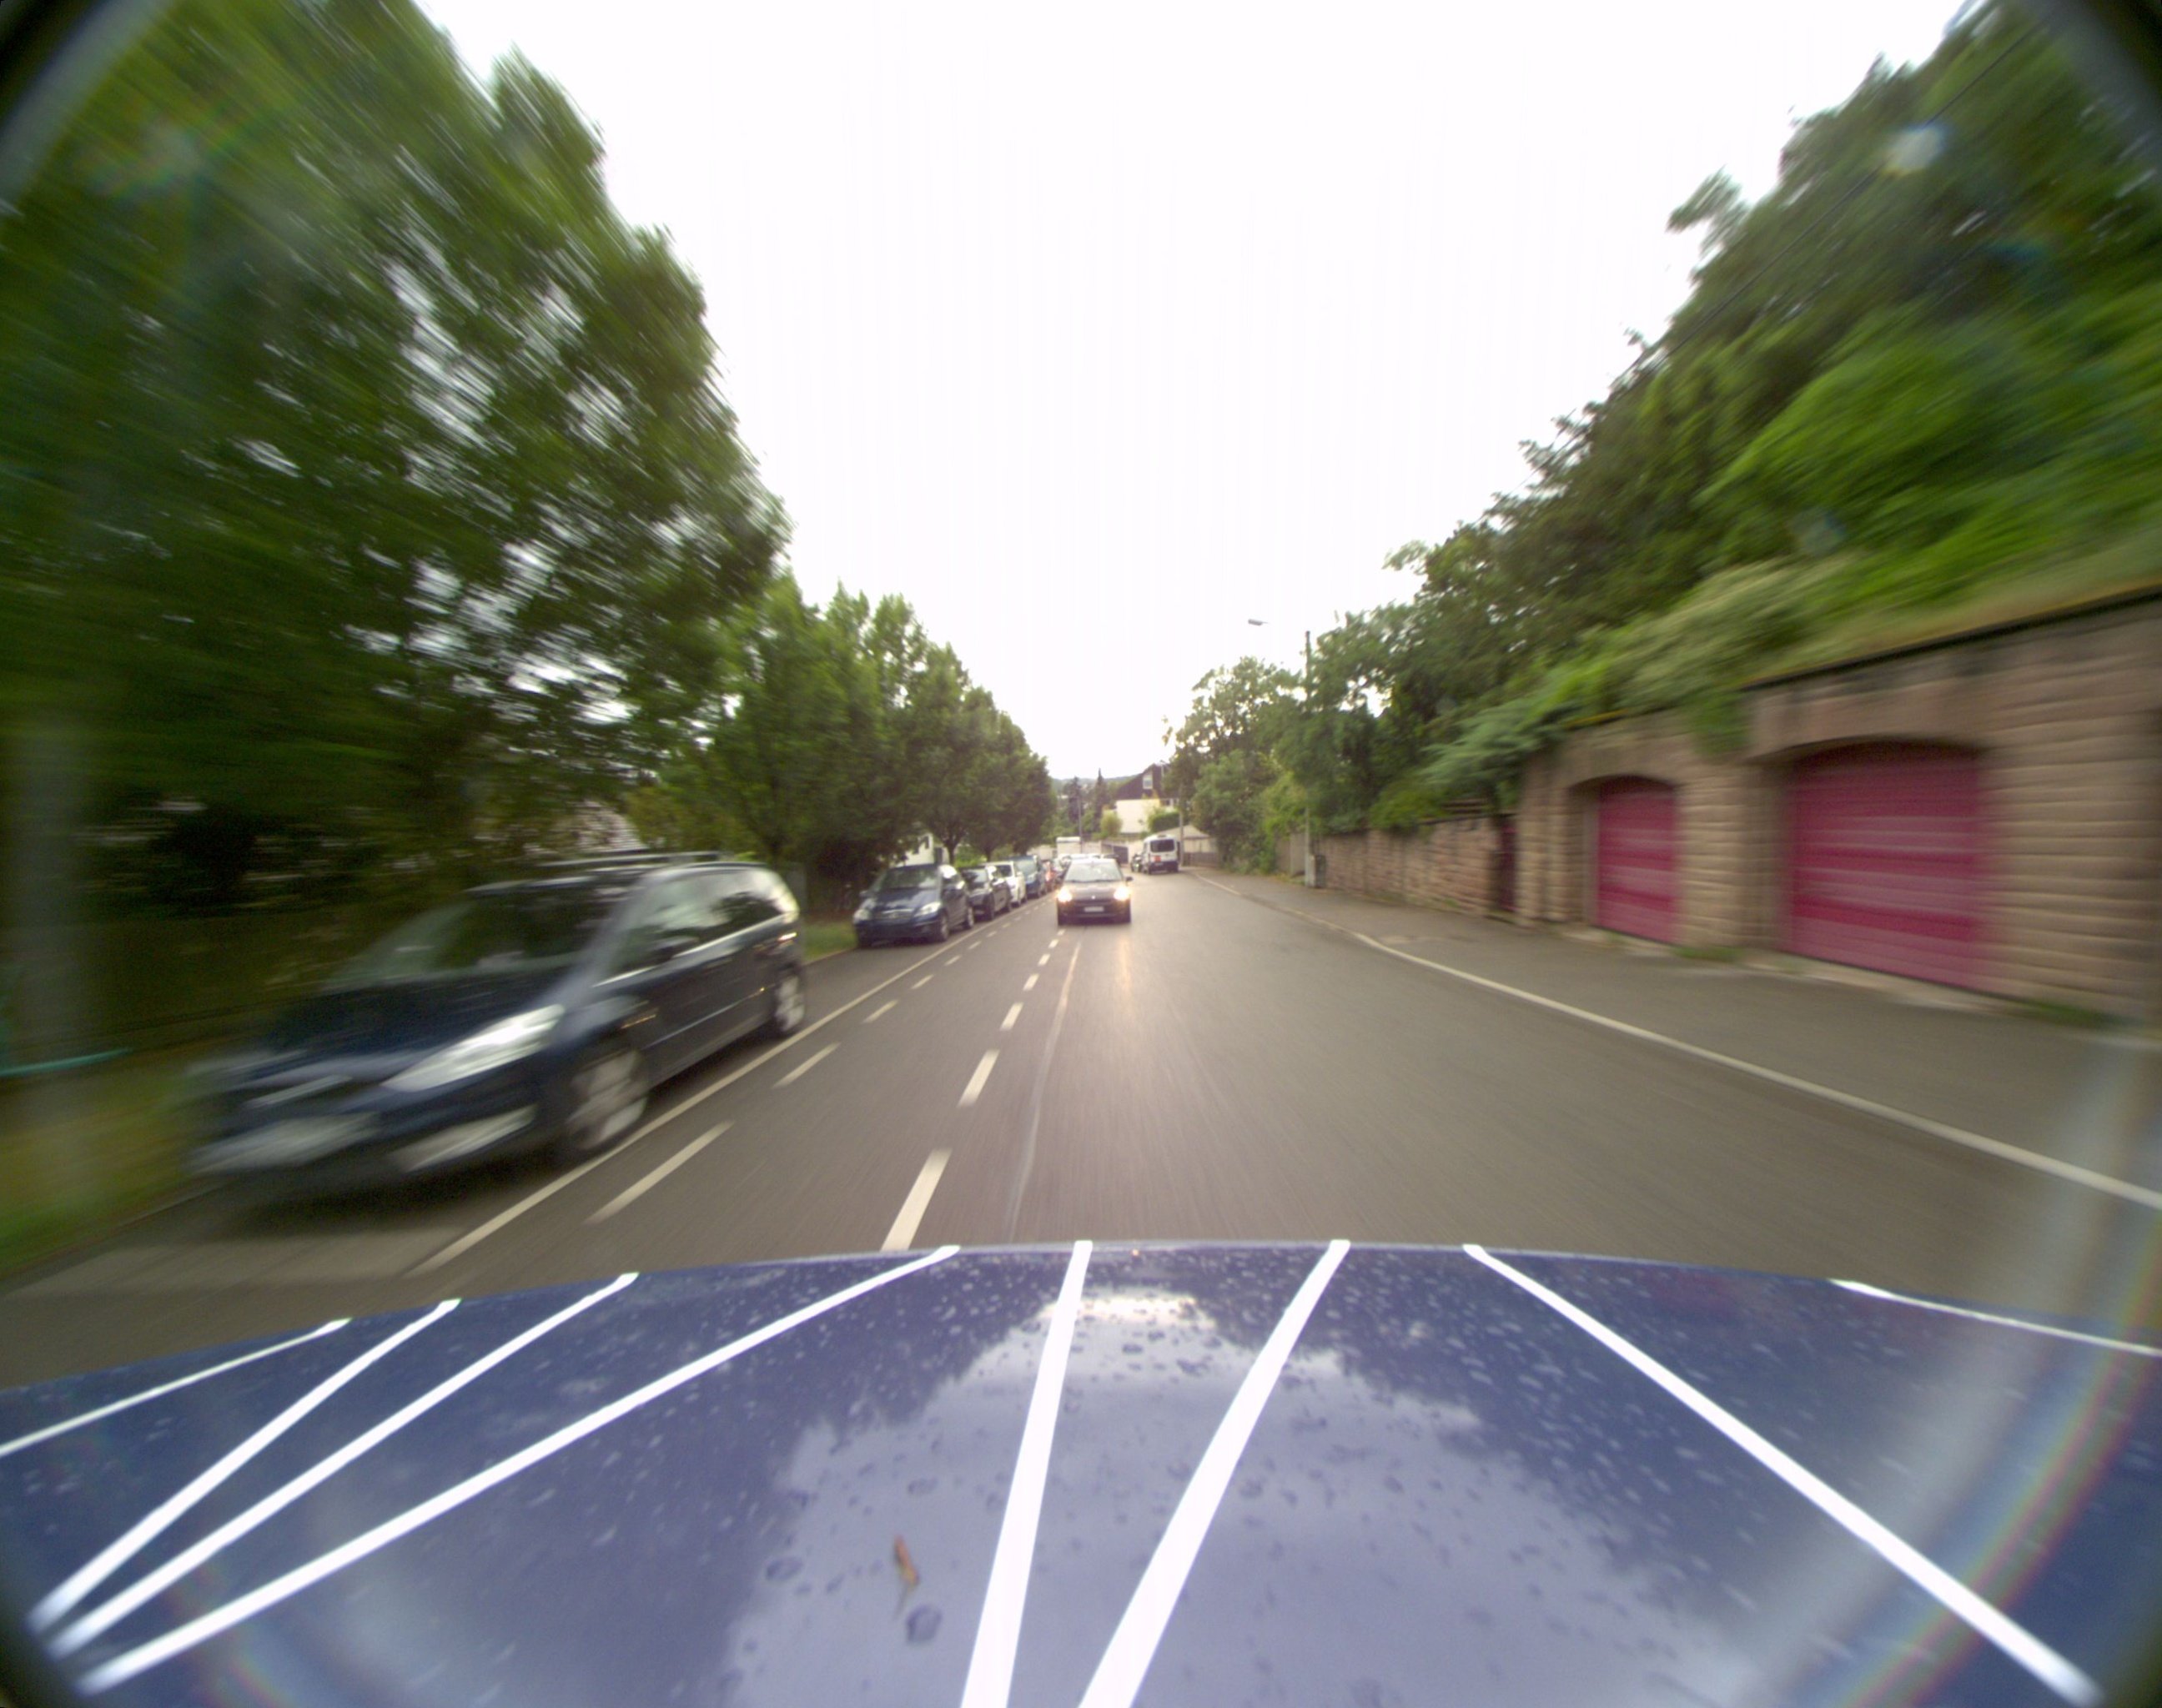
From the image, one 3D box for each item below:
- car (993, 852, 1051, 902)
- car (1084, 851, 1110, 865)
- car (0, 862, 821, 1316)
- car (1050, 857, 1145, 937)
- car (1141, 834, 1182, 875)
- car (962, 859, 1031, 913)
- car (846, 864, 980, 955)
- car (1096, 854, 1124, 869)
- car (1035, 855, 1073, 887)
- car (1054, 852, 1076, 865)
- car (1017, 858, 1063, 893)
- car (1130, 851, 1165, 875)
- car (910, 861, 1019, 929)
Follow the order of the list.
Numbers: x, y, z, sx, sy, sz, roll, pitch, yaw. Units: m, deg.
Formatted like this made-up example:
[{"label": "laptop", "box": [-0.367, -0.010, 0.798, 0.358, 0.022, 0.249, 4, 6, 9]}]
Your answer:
[{"label": "car", "box": [-2.398, 0.901, 32.179, 1.782, 1.841, 4.425, -4, 0, 3]}, {"label": "car", "box": [1.735, 0.452, 84.405, 1.839, 1.431, 4.035, -3, 1, -14]}, {"label": "car", "box": [-3.609, 1.006, 5.526, 1.785, 1.772, 4.678, -3, 0, -1]}, {"label": "car", "box": [0.465, 0.872, 17.276, 1.892, 1.521, 4.057, -1, 1, 4]}, {"label": "car", "box": [5.441, 0.013, 52.185, 2.099, 2.535, 6.097, -3, 0, 0]}, {"label": "car", "box": [-2.850, 1.025, 26.414, 1.788, 1.599, 4.224, -4, 0, 0]}, {"label": "car", "box": [-3.454, 1.080, 16.388, 1.697, 1.561, 3.923, -4, 0, 4]}, {"label": "car", "box": [2.919, 0.752, 77.555, 1.718, 1.451, 4.677, -4, 1, -11]}, {"label": "car", "box": [-1.461, 0.903, 42.568, 1.718, 1.547, 4.164, -5, 0, 2]}, {"label": "car", "box": [-2.061, 0.568, 95.936, 1.633, 1.507, 3.827, -4, 0, -17]}, {"label": "car", "box": [-1.950, 1.015, 37.425, 1.652, 1.473, 4.021, -4, 0, 4]}, {"label": "car", "box": [5.170, 0.683, 59.574, 1.901, 1.681, 4.543, -3, 0, -6]}, {"label": "car", "box": [-3.159, 1.066, 21.712, 1.998, 1.528, 4.851, -4, 0, 3]}]
